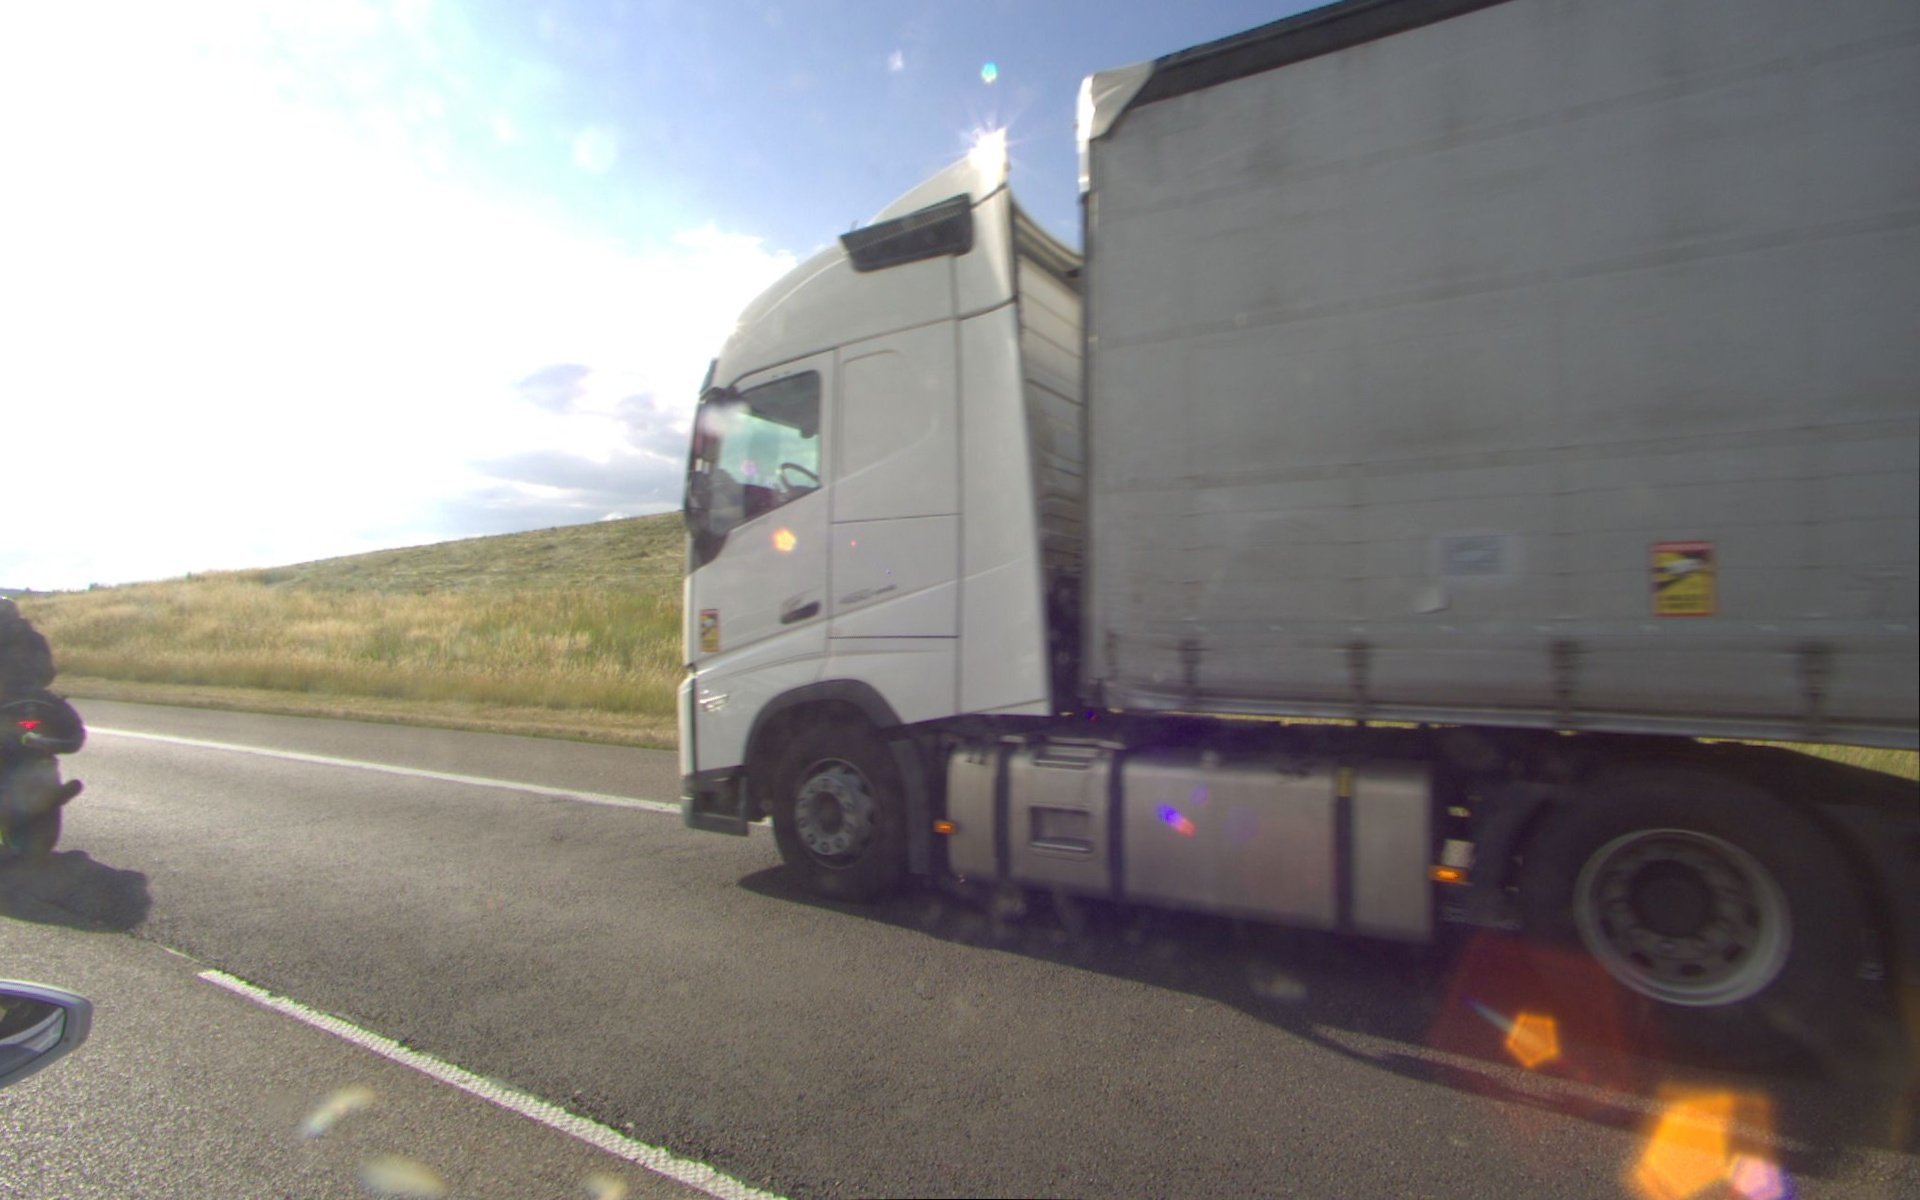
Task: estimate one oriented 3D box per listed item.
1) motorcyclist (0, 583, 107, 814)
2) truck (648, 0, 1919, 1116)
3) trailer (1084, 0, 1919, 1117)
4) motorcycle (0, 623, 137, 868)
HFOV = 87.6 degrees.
[{"bbox_3d":[-6.463,0.641,6.726,0.879,1.474,0.894,-1,-1,32],"label":"motorcyclist"},{"bbox_3d":[1.378,-0.427,5.492,6.031,4.093,2.597,-1,-1,32],"label":"truck"},{"bbox_3d":[6.967,-0.533,2.025,13.500,4.093,2.612,-1,-1,32],"label":"trailer"},{"bbox_3d":[-6.502,0.902,6.759,1.954,1.474,0.894,-1,-1,32],"label":"motorcycle"}]
